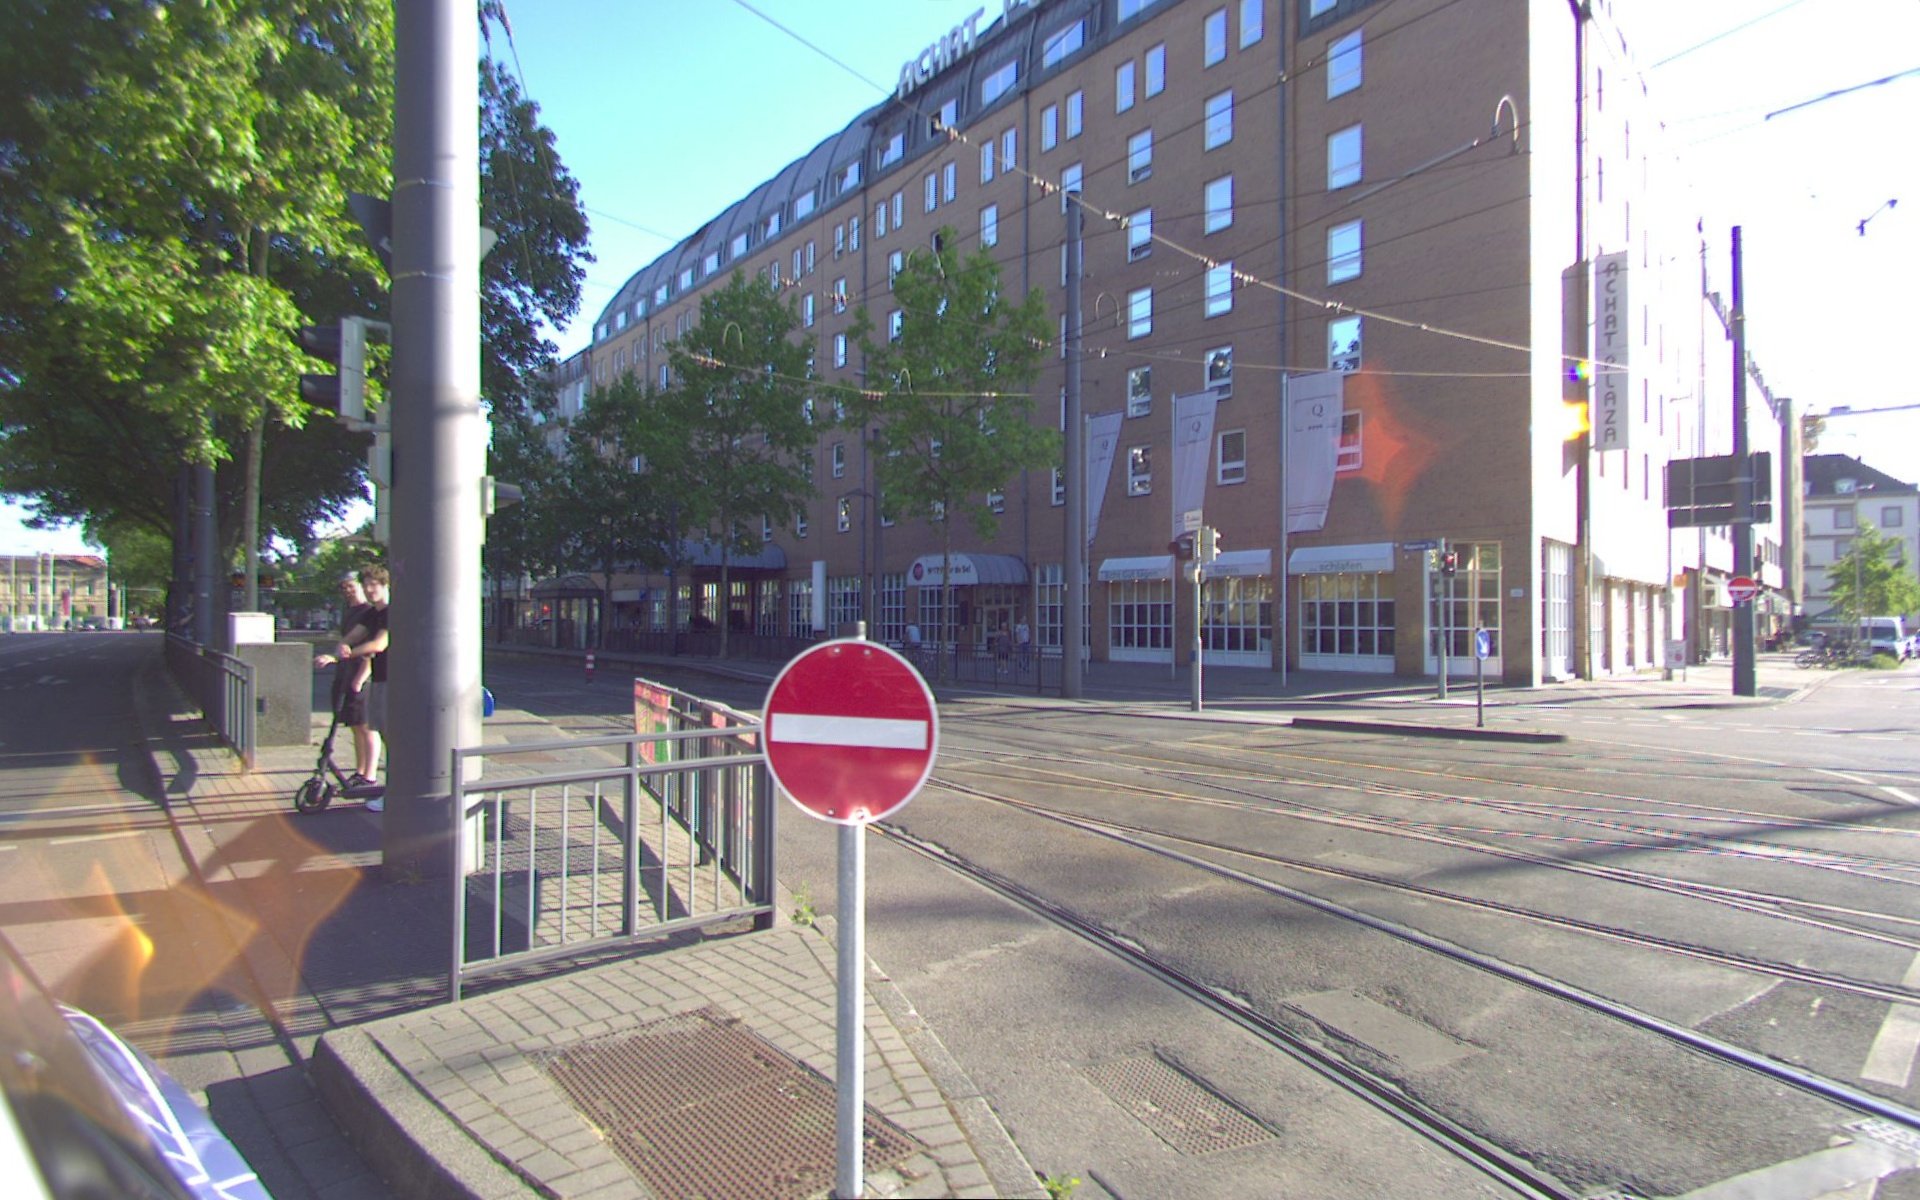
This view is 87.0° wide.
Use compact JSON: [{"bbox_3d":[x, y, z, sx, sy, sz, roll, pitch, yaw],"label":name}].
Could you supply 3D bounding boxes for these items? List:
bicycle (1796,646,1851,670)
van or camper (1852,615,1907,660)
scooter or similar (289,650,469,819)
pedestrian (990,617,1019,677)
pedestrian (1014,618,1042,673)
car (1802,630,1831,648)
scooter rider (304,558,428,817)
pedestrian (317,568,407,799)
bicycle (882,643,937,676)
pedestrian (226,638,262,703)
[{"bbox_3d":[38.756,2.592,45.448,0.630,0.988,1.735,1,-2,-28],"label":"bicycle"},{"bbox_3d":[49.669,1.983,54.604,2.001,2.186,5.534,-1,0,44],"label":"van or camper"},{"bbox_3d":[-4.424,0.983,7.740,1.140,1.188,0.457,1,-2,-33],"label":"scooter or similar"},{"bbox_3d":[1.415,1.506,32.513,0.637,1.910,0.748,1,-2,-27],"label":"pedestrian"},{"bbox_3d":[2.193,1.458,32.671,0.637,1.756,0.707,0,-2,-27],"label":"pedestrian"},{"bbox_3d":[78.838,3.560,93.188,1.840,1.597,4.104,-1,-1,37],"label":"car"},{"bbox_3d":[-4.516,0.637,7.693,0.750,1.847,0.590,1,-2,-33],"label":"scooter rider"},{"bbox_3d":[-4.946,0.665,8.365,0.560,1.810,0.674,2,-2,-34],"label":"pedestrian"},{"bbox_3d":[-1.708,1.981,33.780,0.604,1.026,2.157,2,-2,-42],"label":"bicycle"},{"bbox_3d":[-11.679,1.136,16.510,0.400,1.040,0.379,2,-3,-45],"label":"pedestrian"}]
